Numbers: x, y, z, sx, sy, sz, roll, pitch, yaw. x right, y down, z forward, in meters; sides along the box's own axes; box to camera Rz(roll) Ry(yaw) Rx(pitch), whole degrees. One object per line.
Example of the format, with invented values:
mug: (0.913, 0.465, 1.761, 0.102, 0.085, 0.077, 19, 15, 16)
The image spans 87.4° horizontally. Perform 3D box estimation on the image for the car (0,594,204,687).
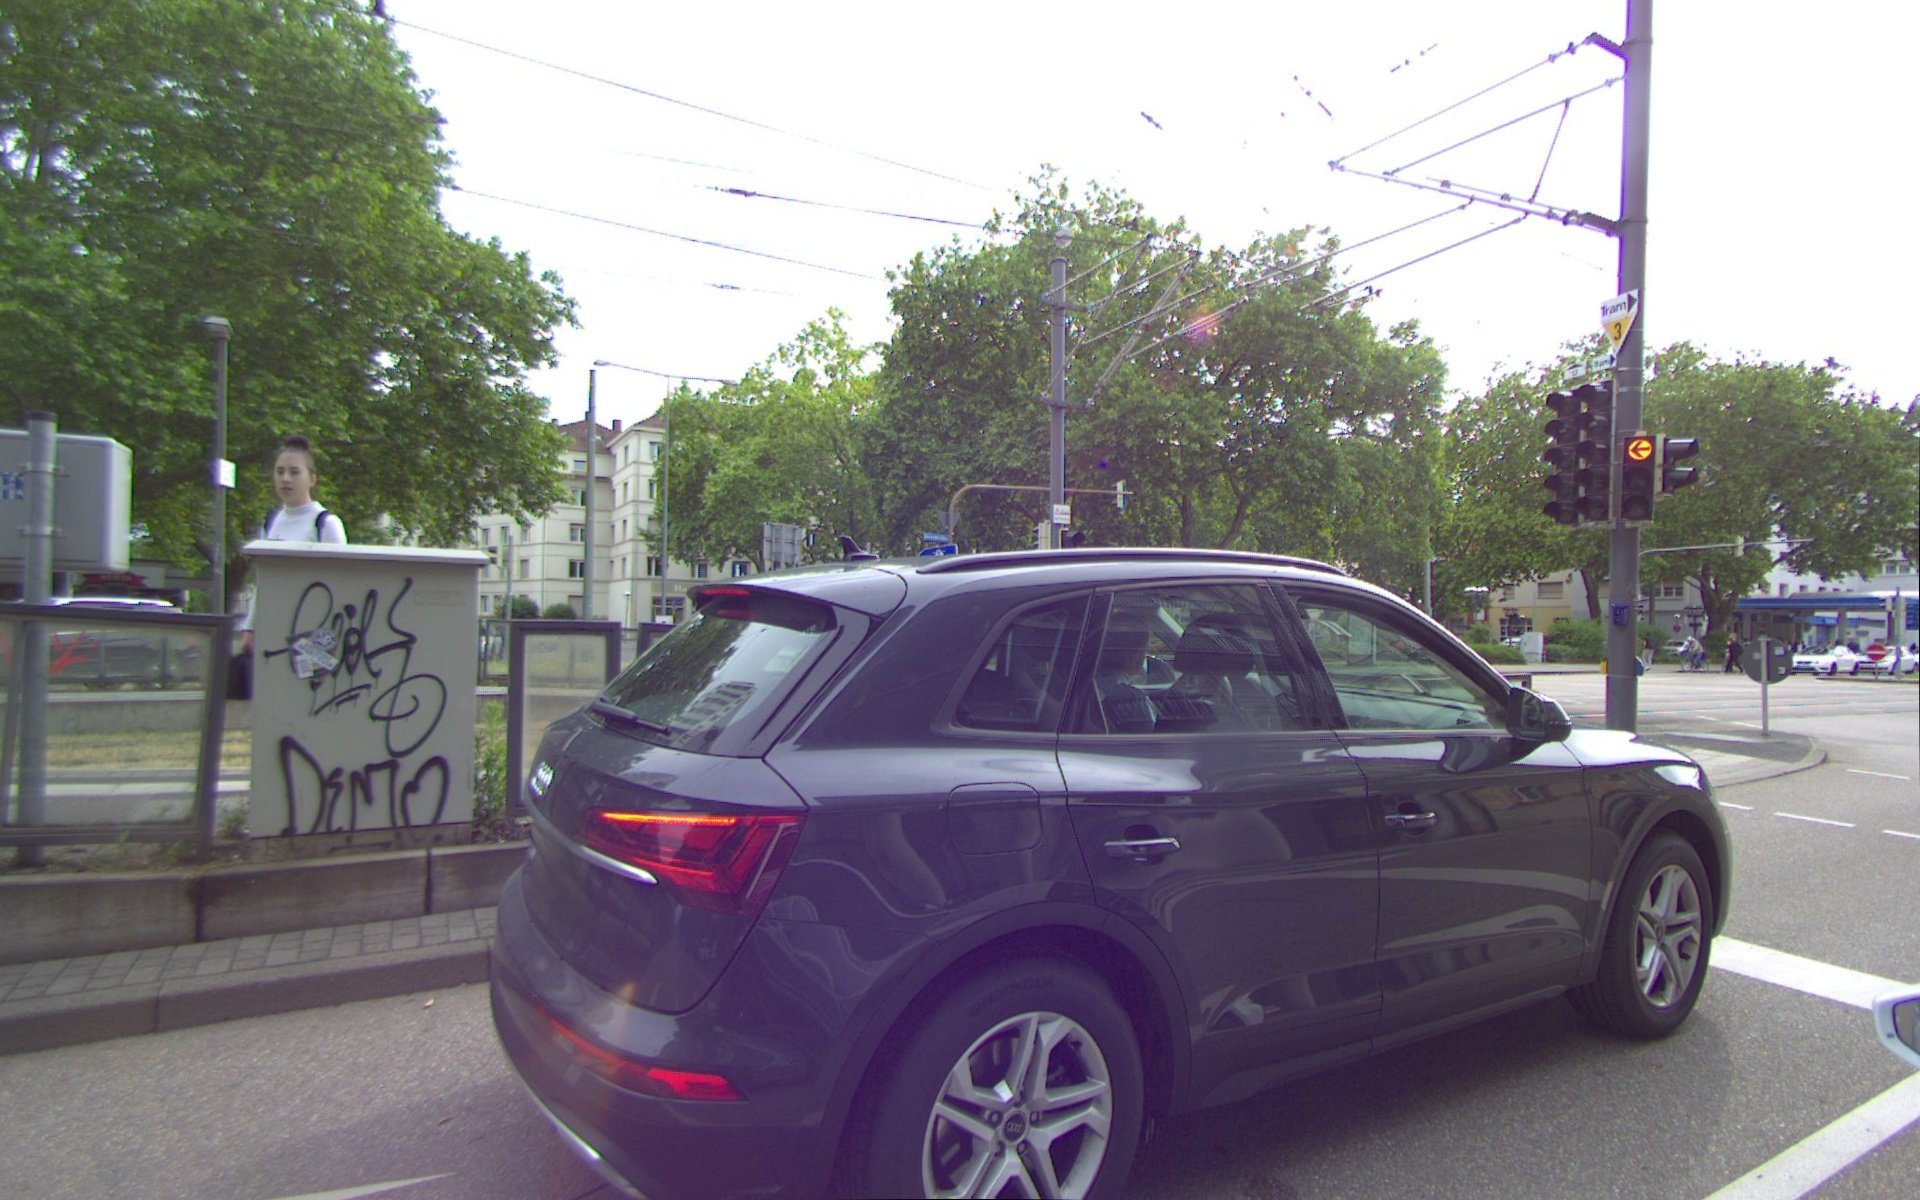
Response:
car: (-15.072, 0.661, 17.061, 1.555, 1.447, 3.213, 0, -1, 31)

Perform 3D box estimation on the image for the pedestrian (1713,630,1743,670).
pedestrian: (34.245, 2.220, 44.805, 0.682, 1.735, 0.864, 1, -1, -26)

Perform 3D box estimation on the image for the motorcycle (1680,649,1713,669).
motorcycle: (35.950, 2.858, 49.030, 1.928, 0.941, 0.604, 2, -1, -30)

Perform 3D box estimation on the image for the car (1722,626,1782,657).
car: (54.627, 2.878, 69.285, 3.953, 2.040, 1.984, 2, -1, -30)

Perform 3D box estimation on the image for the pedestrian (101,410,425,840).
pedestrian: (-3.124, 0.099, 4.557, 0.709, 1.692, 0.977, 2, 0, 31)

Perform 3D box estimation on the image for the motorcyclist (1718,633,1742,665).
motorcyclist: (37.240, 2.363, 48.574, 0.863, 1.540, 0.617, 2, -1, -30)

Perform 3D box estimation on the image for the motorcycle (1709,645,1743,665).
motorcycle: (36.934, 2.664, 48.435, 1.928, 0.941, 0.604, 2, -1, -30)

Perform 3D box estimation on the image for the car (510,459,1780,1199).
car: (0.832, 0.648, 3.460, 4.177, 1.658, 1.725, 2, 0, -30)

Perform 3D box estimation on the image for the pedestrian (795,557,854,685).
pedestrian: (-2.157, 0.325, 15.918, 0.658, 1.976, 0.732, 2, 0, -30)

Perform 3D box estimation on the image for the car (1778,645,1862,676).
car: (41.400, 2.907, 48.348, 4.025, 1.338, 1.739, 2, 0, -29)

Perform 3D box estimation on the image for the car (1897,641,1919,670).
car: (52.786, 3.032, 54.606, 3.593, 1.497, 1.649, 2, 0, -29)

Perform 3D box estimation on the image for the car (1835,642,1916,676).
car: (46.983, 3.020, 51.524, 3.953, 1.615, 1.984, 2, 0, -30)

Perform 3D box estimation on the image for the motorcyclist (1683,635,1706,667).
motorcyclist: (35.809, 2.479, 48.948, 0.863, 1.540, 0.617, 2, -1, -30)

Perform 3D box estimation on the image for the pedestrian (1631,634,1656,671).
pedestrian: (32.563, 2.498, 47.829, 0.732, 1.713, 0.681, 2, 0, -25)

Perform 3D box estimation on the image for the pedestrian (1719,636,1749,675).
pedestrian: (34.862, 2.491, 45.239, 0.867, 1.735, 0.865, 2, -1, -36)
